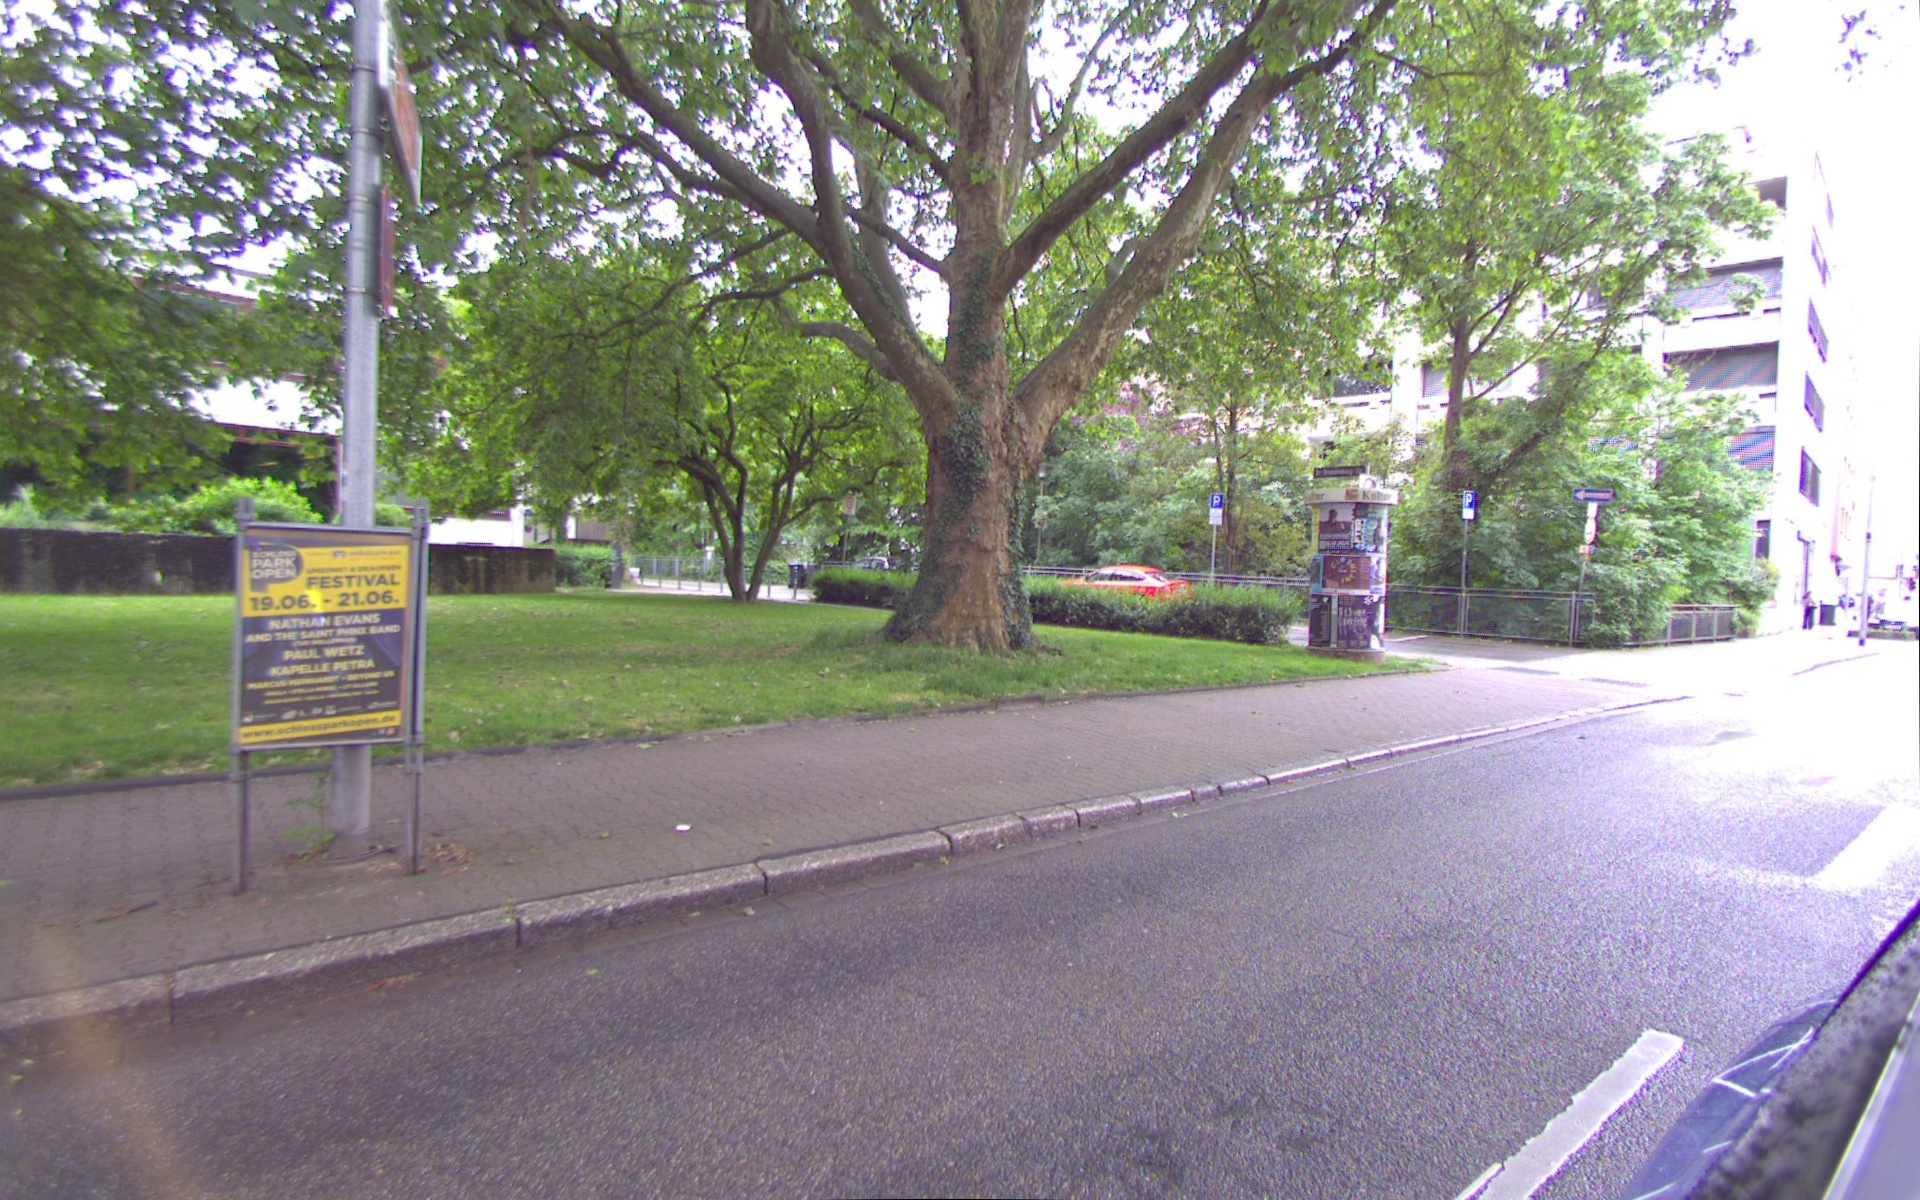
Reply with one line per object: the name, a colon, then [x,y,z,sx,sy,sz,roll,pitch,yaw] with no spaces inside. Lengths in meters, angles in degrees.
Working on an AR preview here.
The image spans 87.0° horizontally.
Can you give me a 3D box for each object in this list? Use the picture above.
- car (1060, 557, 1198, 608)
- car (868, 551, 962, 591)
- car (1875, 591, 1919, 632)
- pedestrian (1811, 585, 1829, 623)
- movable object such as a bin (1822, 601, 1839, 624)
car: [4.867,-0.544,29.519,1.551,1.294,3.784,-1,4,-44]
car: [-1.666,-1.076,36.634,3.460,1.294,1.426,5,4,45]
car: [37.406,0.449,39.738,3.617,1.449,1.681,0,6,-41]
pedestrian: [35.021,0.164,41.217,0.473,1.549,0.480,0,0,-41]
movable object such as a bin: [41.912,0.613,48.711,0.287,1.054,0.556,0,3,-41]
